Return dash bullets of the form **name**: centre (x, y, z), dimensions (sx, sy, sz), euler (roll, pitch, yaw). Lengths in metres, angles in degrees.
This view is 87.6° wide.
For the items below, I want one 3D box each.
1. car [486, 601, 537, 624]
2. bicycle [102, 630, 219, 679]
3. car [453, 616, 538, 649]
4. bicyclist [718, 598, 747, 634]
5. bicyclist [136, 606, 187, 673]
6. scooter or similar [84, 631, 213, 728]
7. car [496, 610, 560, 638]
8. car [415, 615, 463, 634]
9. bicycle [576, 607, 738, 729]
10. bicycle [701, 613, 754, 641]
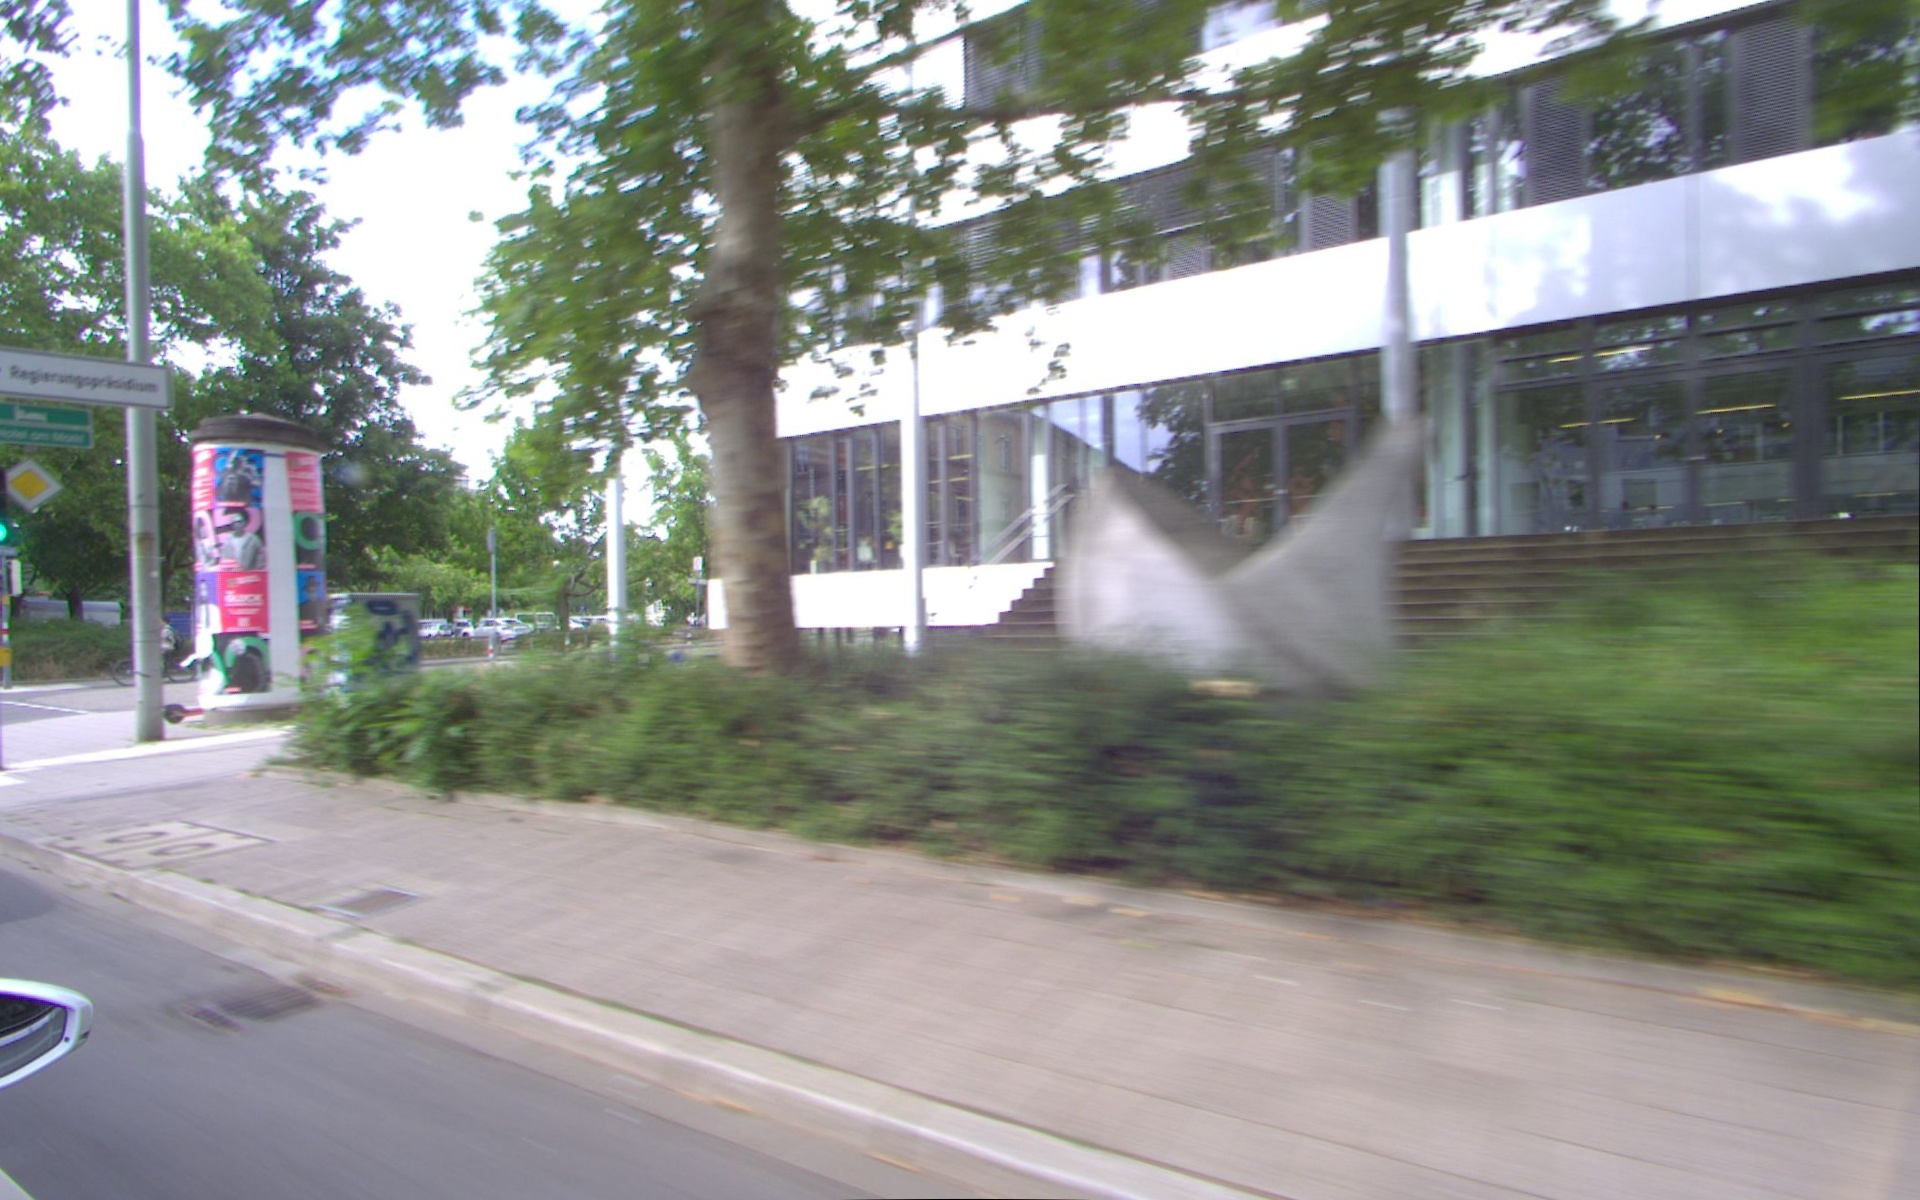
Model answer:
- **car**: centre (-41.646, 1.212, 93.000), dimensions (4.702, 2.039, 1.992), euler (-1, -2, 30)
- **bicycle**: centre (-20.866, 1.410, 26.180), dimensions (0.904, 1.187, 2.236), euler (-3, -1, 37)
- **car**: centre (-25.990, 1.834, 56.011), dimensions (4.702, 1.817, 1.992), euler (-1, -2, 30)
- **bicyclist**: centre (-10.186, 0.720, 44.796), dimensions (0.904, 1.597, 0.826), euler (-2, -1, 37)
- **bicyclist**: centre (-20.883, 1.027, 26.181), dimensions (0.904, 1.700, 0.826), euler (-2, -1, 37)
- **scooter or similar**: centre (-11.310, 1.080, 13.991), dimensions (0.340, 1.226, 1.301), euler (-1, 2, 37)
- **car**: centre (-32.784, 1.837, 75.908), dimensions (4.699, 2.039, 1.993), euler (-1, -2, 28)
- **car**: centre (-45.087, 2.106, 86.605), dimensions (3.733, 1.600, 1.992), euler (-1, -2, 30)
- **bicycle**: centre (-3.201, 0.692, 10.538), dimensions (1.701, 1.184, 0.697), euler (-1, -2, 33)
- **bicycle**: centre (-10.345, 1.178, 44.609), dimensions (0.904, 1.187, 2.236), euler (-3, -1, 37)
